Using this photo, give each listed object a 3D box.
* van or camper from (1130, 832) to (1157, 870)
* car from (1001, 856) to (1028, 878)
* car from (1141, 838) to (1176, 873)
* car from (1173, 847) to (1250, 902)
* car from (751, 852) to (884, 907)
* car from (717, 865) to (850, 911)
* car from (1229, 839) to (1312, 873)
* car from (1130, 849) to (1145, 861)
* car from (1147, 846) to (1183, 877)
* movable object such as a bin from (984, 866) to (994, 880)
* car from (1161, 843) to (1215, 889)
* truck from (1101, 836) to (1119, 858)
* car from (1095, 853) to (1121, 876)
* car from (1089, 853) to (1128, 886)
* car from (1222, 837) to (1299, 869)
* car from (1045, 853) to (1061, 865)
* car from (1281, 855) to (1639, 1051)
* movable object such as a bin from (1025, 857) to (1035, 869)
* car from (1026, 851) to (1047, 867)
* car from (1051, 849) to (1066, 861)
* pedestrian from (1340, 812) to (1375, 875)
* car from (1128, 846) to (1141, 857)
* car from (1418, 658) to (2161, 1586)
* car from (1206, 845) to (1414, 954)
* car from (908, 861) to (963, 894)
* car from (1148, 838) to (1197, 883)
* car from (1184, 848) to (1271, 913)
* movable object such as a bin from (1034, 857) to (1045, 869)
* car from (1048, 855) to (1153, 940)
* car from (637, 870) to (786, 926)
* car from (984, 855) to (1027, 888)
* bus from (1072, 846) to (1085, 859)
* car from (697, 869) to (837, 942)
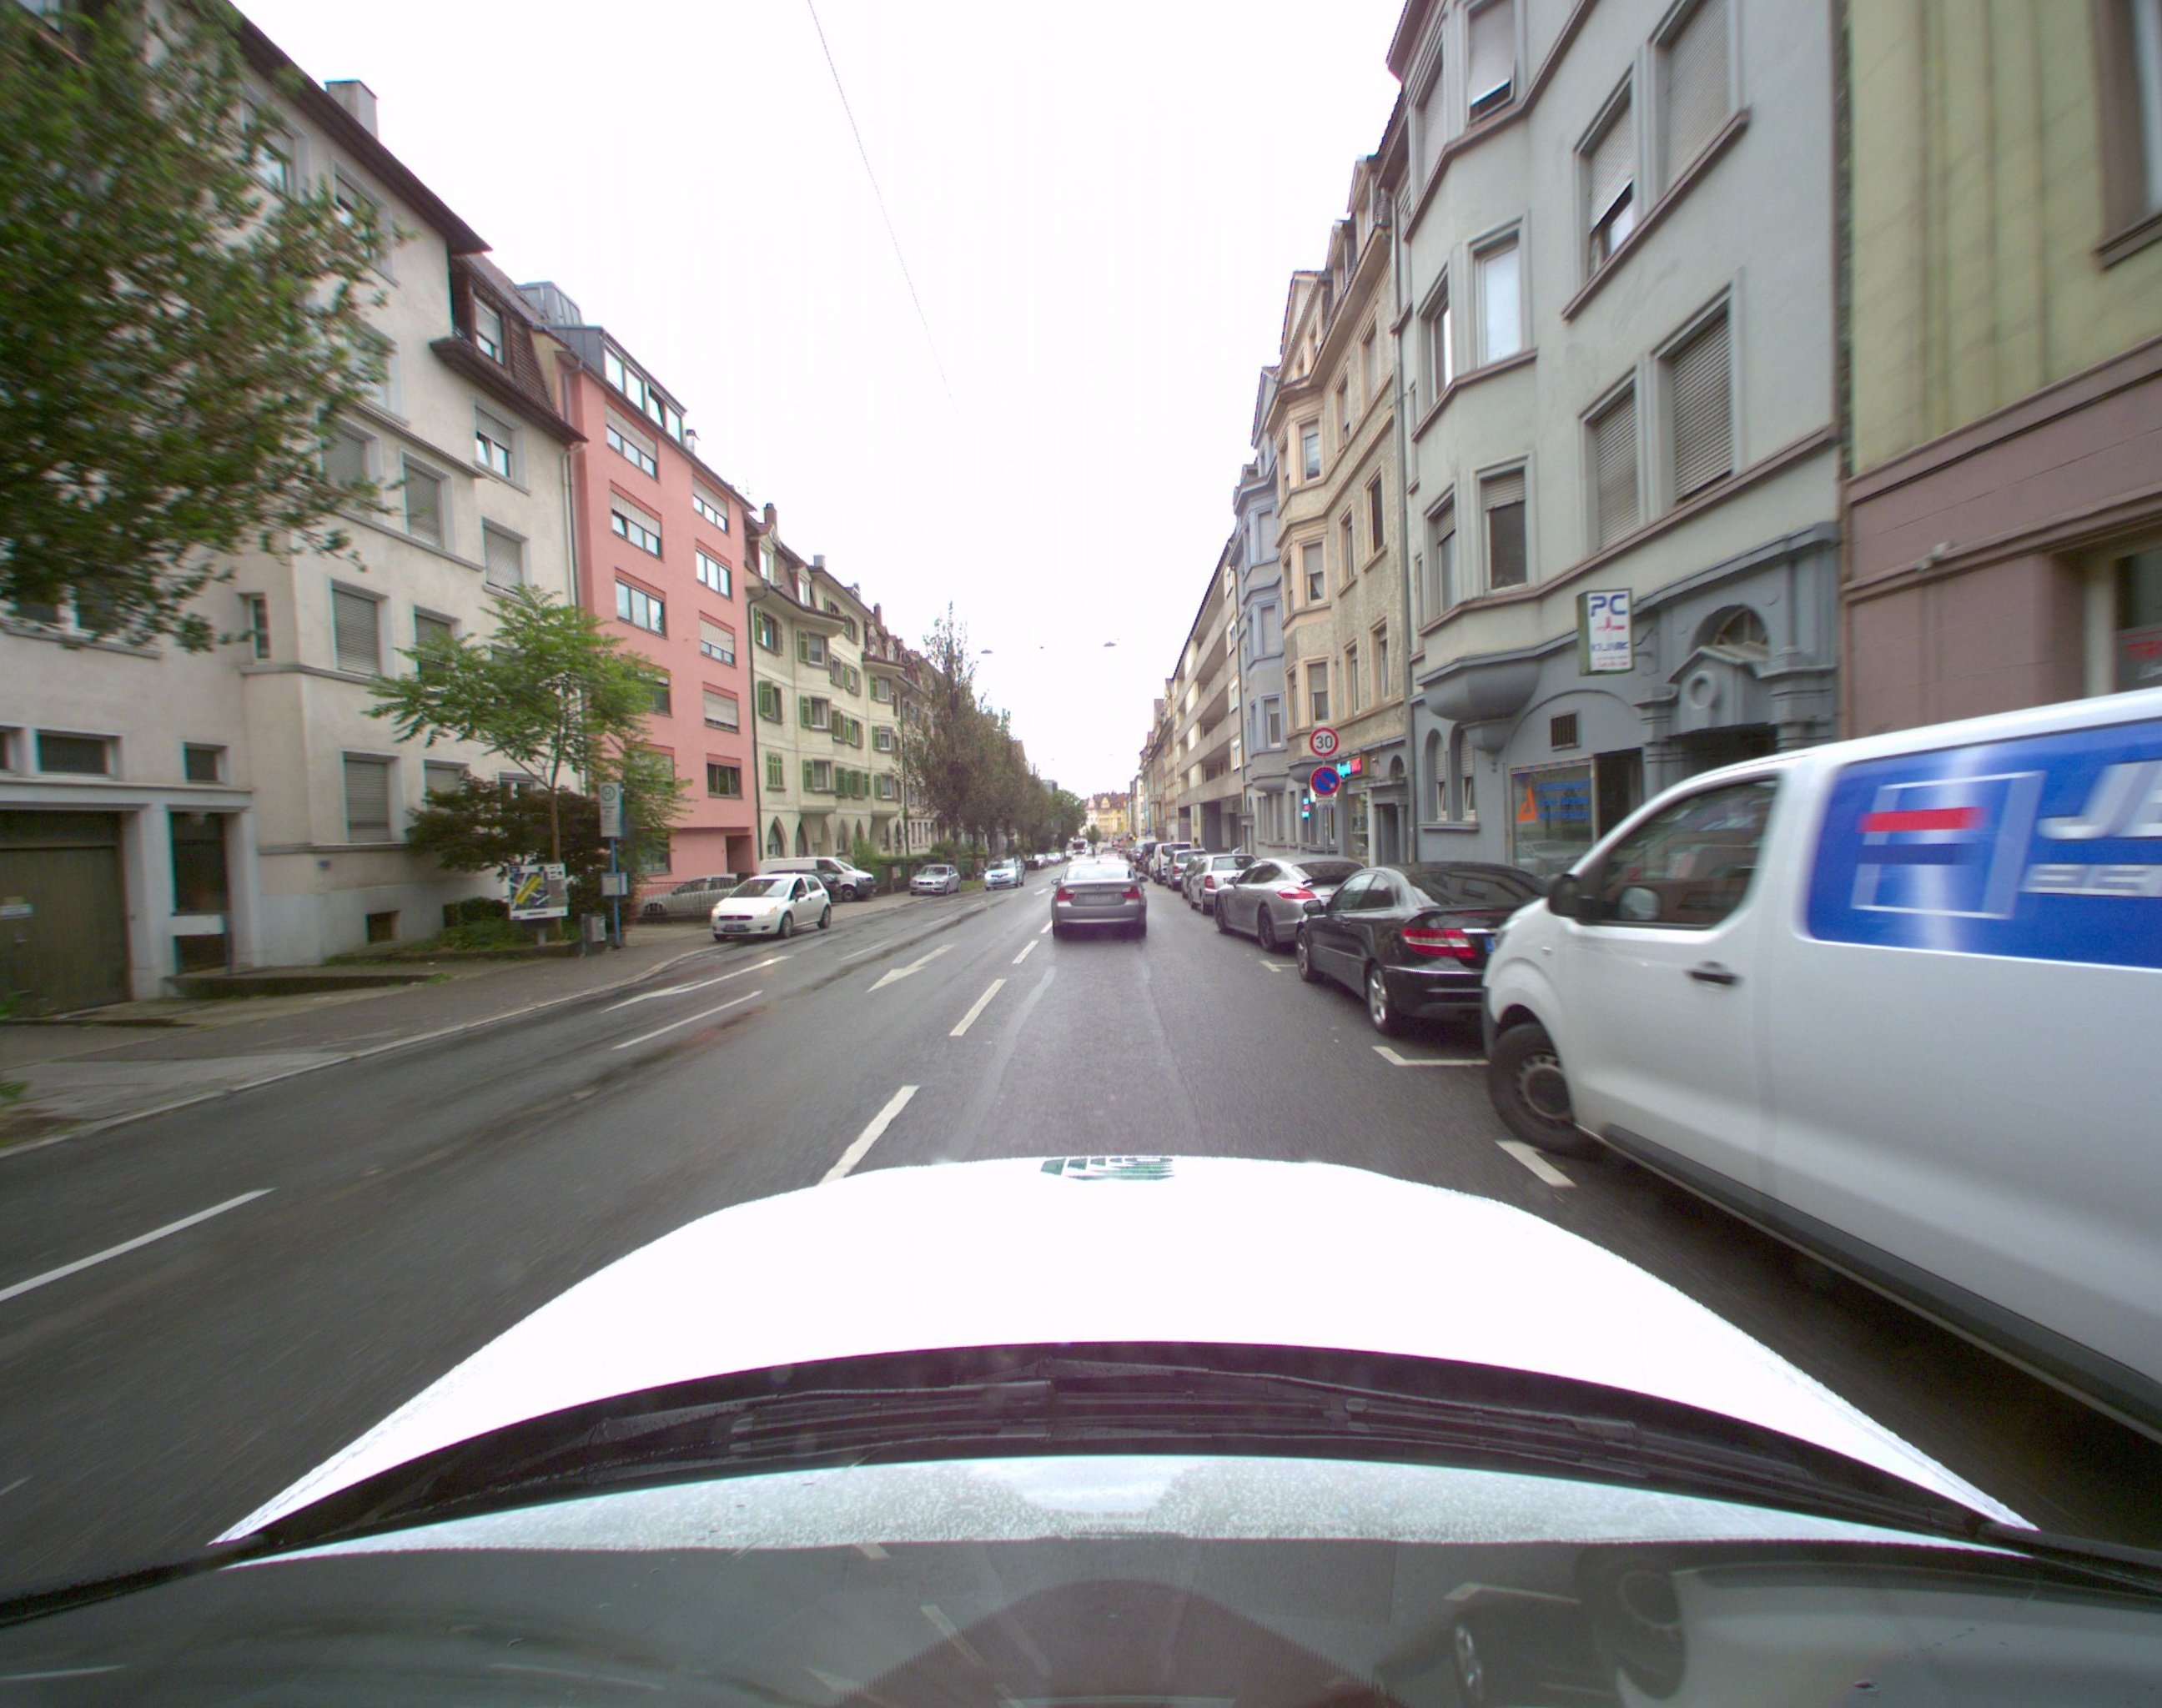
[{"bbox_3d":[5.146,-0.267,66.374,2.023,2.868,6.896,0,0,6],"label":"van or camper"},{"bbox_3d":[-5.570,1.059,68.418,1.760,1.593,4.001,-4,0,1],"label":"car"},{"bbox_3d":[5.272,0.107,55.761,1.974,2.165,4.752,-3,0,2],"label":"car"},{"bbox_3d":[4.152,0.589,26.612,1.892,1.478,4.802,-5,0,3],"label":"car"},{"bbox_3d":[-11.063,1.043,34.404,4.811,1.974,2.049,-3,0,1],"label":"car"},{"bbox_3d":[-11.469,1.278,31.581,4.418,1.451,1.791,-3,0,-1],"label":"car"},{"bbox_3d":[10.261,0.103,44.168,4.255,1.640,1.674,-2,2,14],"label":"car"},{"bbox_3d":[7.219,0.118,104.279,1.691,1.483,3.976,-1,0,1],"label":"car"},{"bbox_3d":[4.980,0.425,48.721,1.719,1.670,4.290,-3,0,2],"label":"car"},{"bbox_3d":[-6.305,1.324,55.645,0.575,0.912,0.637,-3,0,-12],"label":"movable object such as a bin"},{"bbox_3d":[4.450,0.467,34.341,1.719,1.670,4.290,-5,0,2],"label":"car"},{"bbox_3d":[3.274,-0.736,92.496,2.024,2.412,4.828,-1,0,1],"label":"truck"},{"bbox_3d":[1.832,0.679,55.439,1.691,1.483,3.794,-1,0,1],"label":"car"},{"bbox_3d":[1.304,0.684,37.726,1.675,1.428,3.744,-1,0,3],"label":"car"},{"bbox_3d":[10.441,-0.056,47.388,4.255,1.640,1.674,-2,2,14],"label":"car"},{"bbox_3d":[-3.781,0.638,110.128,1.684,1.523,3.739,-4,0,3],"label":"car"},{"bbox_3d":[3.291,0.726,8.084,1.671,1.375,4.278,-1,0,2],"label":"car"},{"bbox_3d":[-5.141,0.943,82.002,0.898,1.168,0.896,-2,0,2],"label":"movable object such as a bin"},{"bbox_3d":[-4.883,0.558,89.745,1.820,1.523,3.739,-4,0,3],"label":"car"},{"bbox_3d":[-3.277,0.109,119.855,1.684,1.523,3.739,-4,0,3],"label":"car"},{"bbox_3d":[7.325,-0.273,21.581,0.486,1.620,0.661,-3,0,-28],"label":"pedestrian"},{"bbox_3d":[7.463,-0.271,114.164,1.691,1.483,3.976,-1,0,1],"label":"car"},{"bbox_3d":[3.090,0.480,2.733,1.912,1.827,5.012,-3,0,2],"label":"car"},{"bbox_3d":[3.564,0.635,13.734,1.872,1.467,4.768,-1,0,-4],"label":"car"},{"bbox_3d":[-6.989,1.118,39.491,1.719,1.484,3.992,0,0,3],"label":"car"},{"bbox_3d":[4.556,0.288,41.070,1.974,2.007,4.627,-3,0,2],"label":"car"},{"bbox_3d":[3.657,0.614,20.918,1.605,1.474,4.018,-1,0,2],"label":"car"},{"bbox_3d":[-4.195,0.880,81.969,0.931,1.168,0.910,-2,0,2],"label":"movable object such as a bin"},{"bbox_3d":[0.261,0.754,15.909,1.765,1.428,3.737,-1,0,-3],"label":"car"},{"bbox_3d":[-11.761,1.370,26.137,3.876,1.457,1.789,-3,0,-6],"label":"car"},{"bbox_3d":[-3.869,0.859,42.289,1.630,1.508,3.756,-5,0,2],"label":"car"},{"bbox_3d":[-0.525,-0.430,197.180,2.658,3.024,7.674,-3,0,2],"label":"bus"},{"bbox_3d":[-7.474,1.163,19.830,1.614,1.445,4.008,-3,0,3],"label":"car"}]
